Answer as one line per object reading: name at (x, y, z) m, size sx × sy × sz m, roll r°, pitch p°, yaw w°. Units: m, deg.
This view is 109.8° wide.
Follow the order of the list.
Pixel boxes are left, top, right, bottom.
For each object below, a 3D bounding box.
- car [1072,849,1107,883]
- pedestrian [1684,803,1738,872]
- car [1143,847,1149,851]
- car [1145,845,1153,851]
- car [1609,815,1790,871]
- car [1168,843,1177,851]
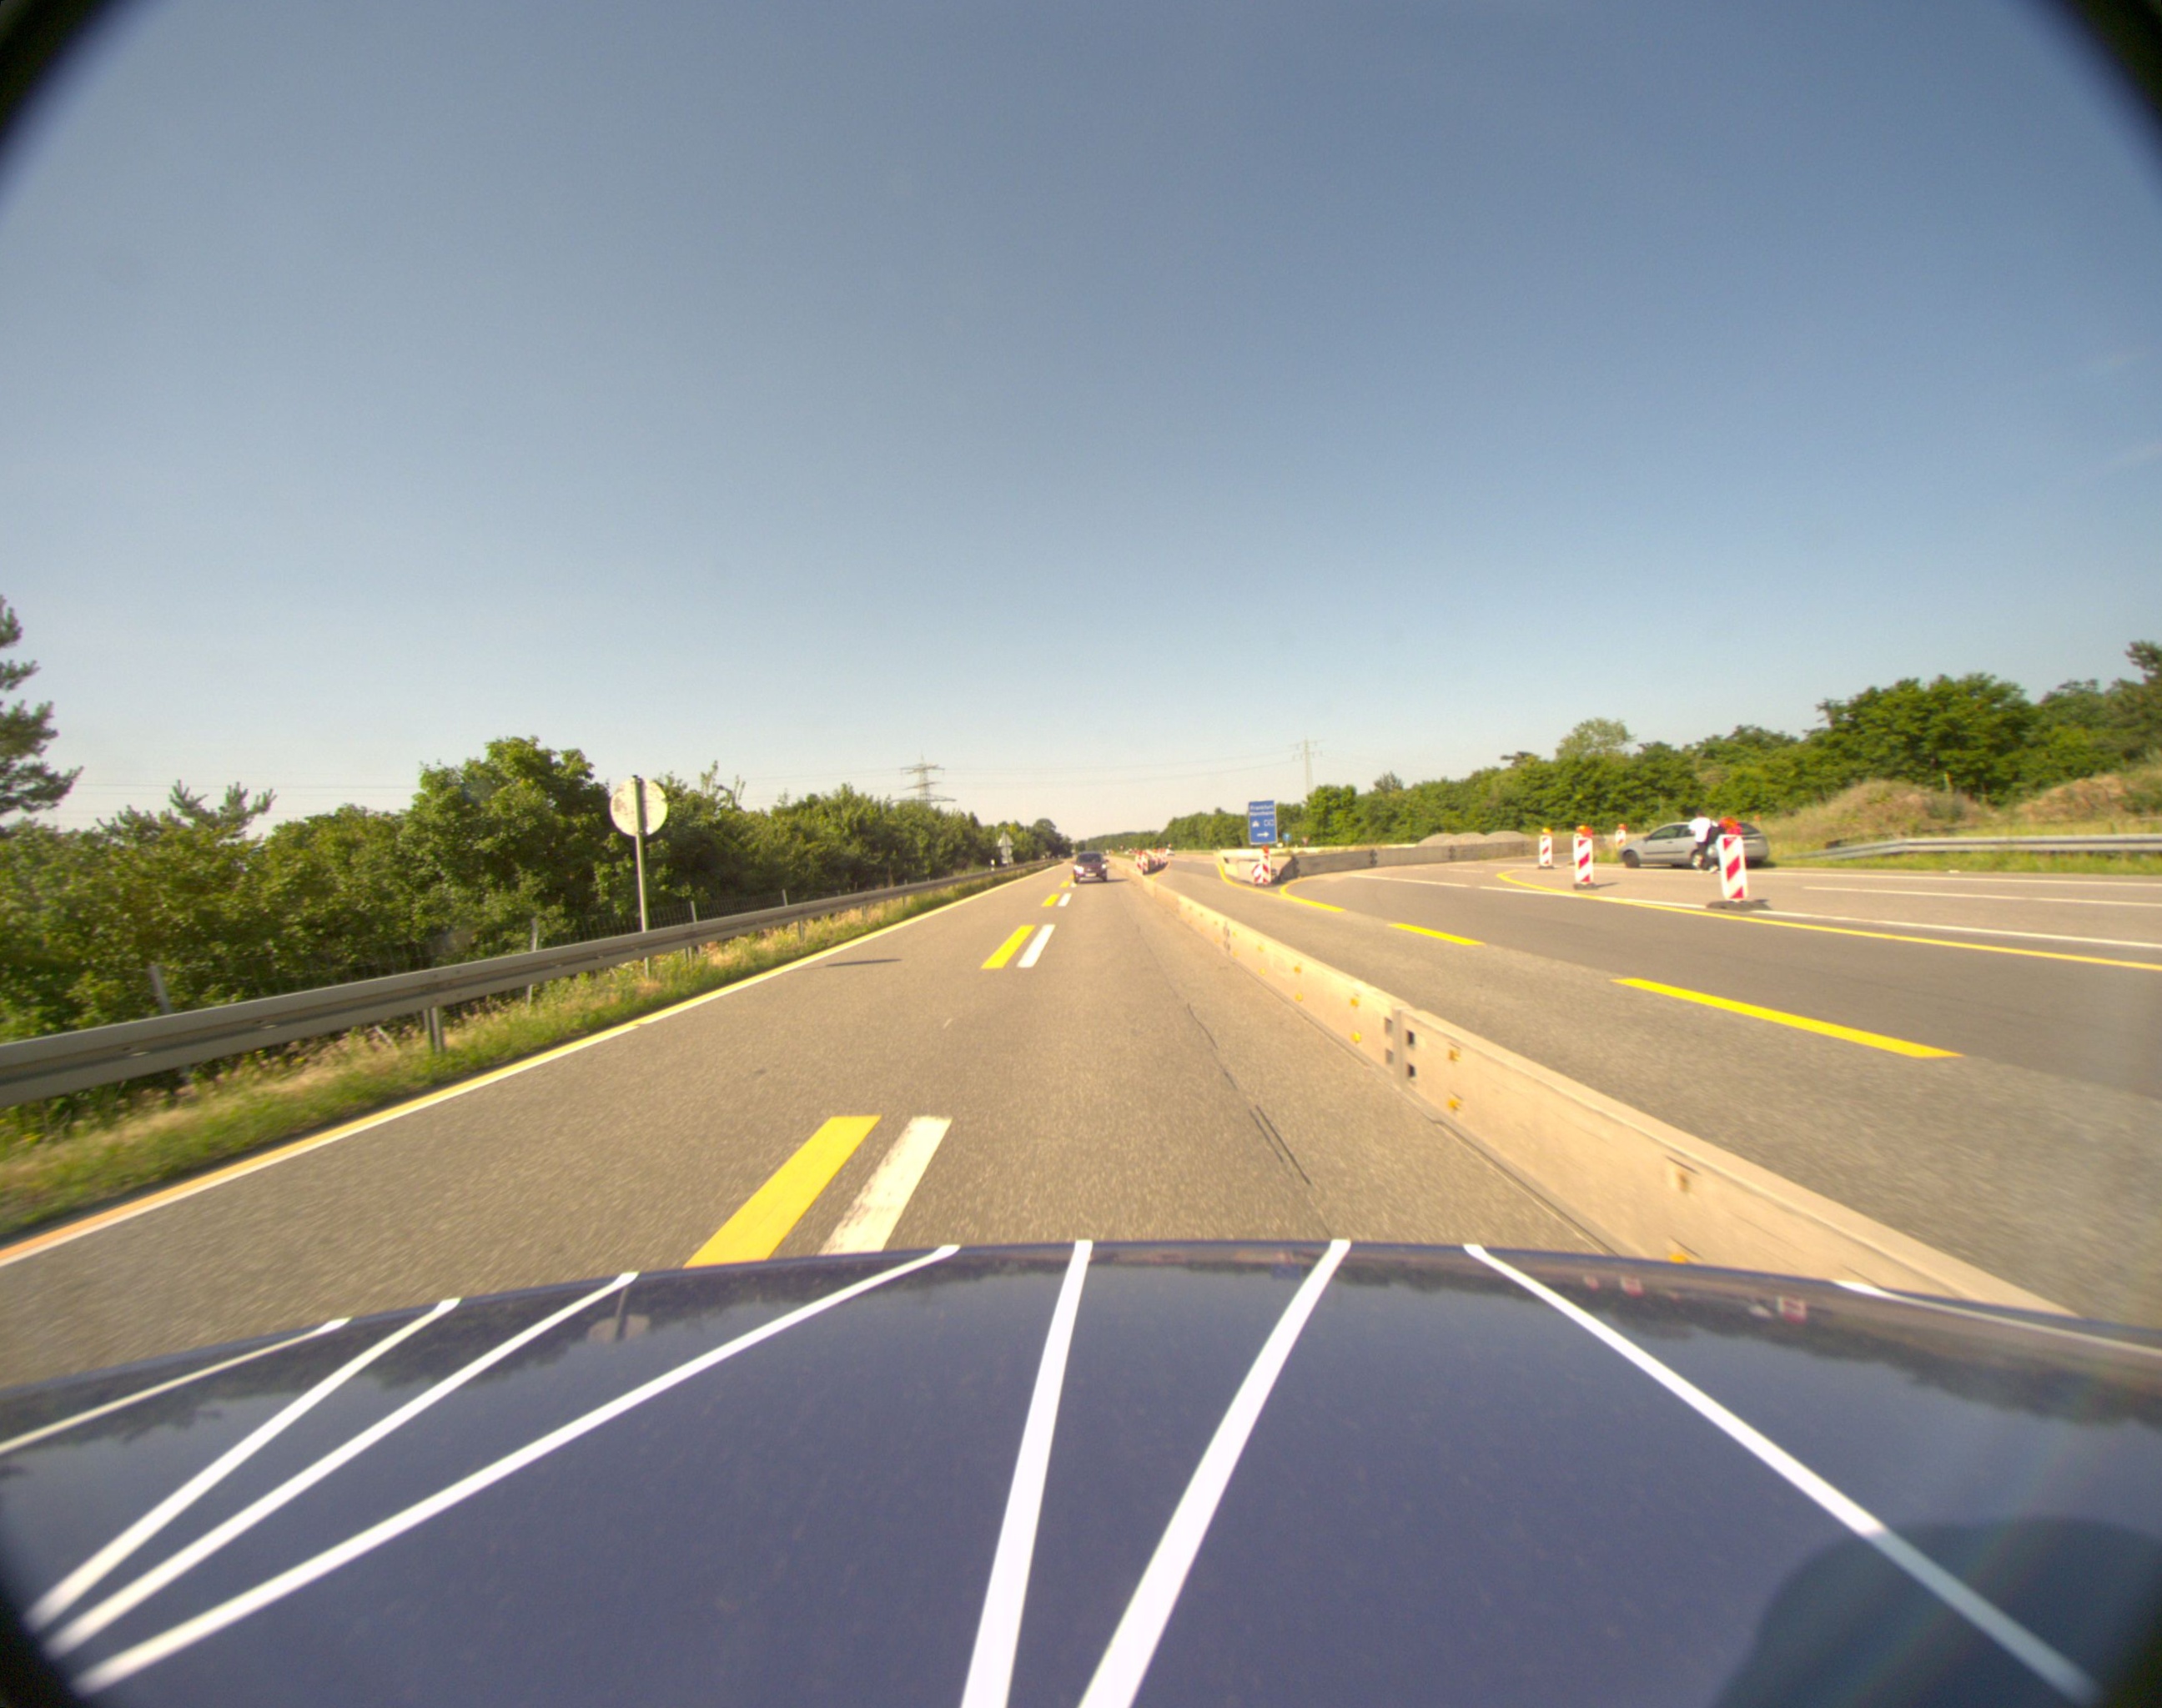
car at (0.496, 0.551, 38.188) m, size 1.587 × 1.491 × 4.415 m, roll -2°, pitch 1°, yaw 2°
pedestrian at (17.070, -0.429, 20.613) m, size 0.743 × 1.810 × 0.796 m, roll -3°, pitch 1°, yaw -10°
car at (21.492, -1.633, 251.086) m, size 1.844 × 1.432 × 4.813 m, roll -2°, pitch 0°, yaw 2°
car at (19.290, -1.781, 216.600) m, size 1.822 × 1.599 × 4.439 m, roll -2°, pitch 0°, yaw 1°
car at (18.699, -0.321, 23.268) m, size 1.867 × 1.451 × 4.294 m, roll -3°, pitch 1°, yaw -3°
car at (18.068, -1.460, 149.576) m, size 1.714 × 1.507 × 4.180 m, roll -3°, pitch 0°, yaw 7°
